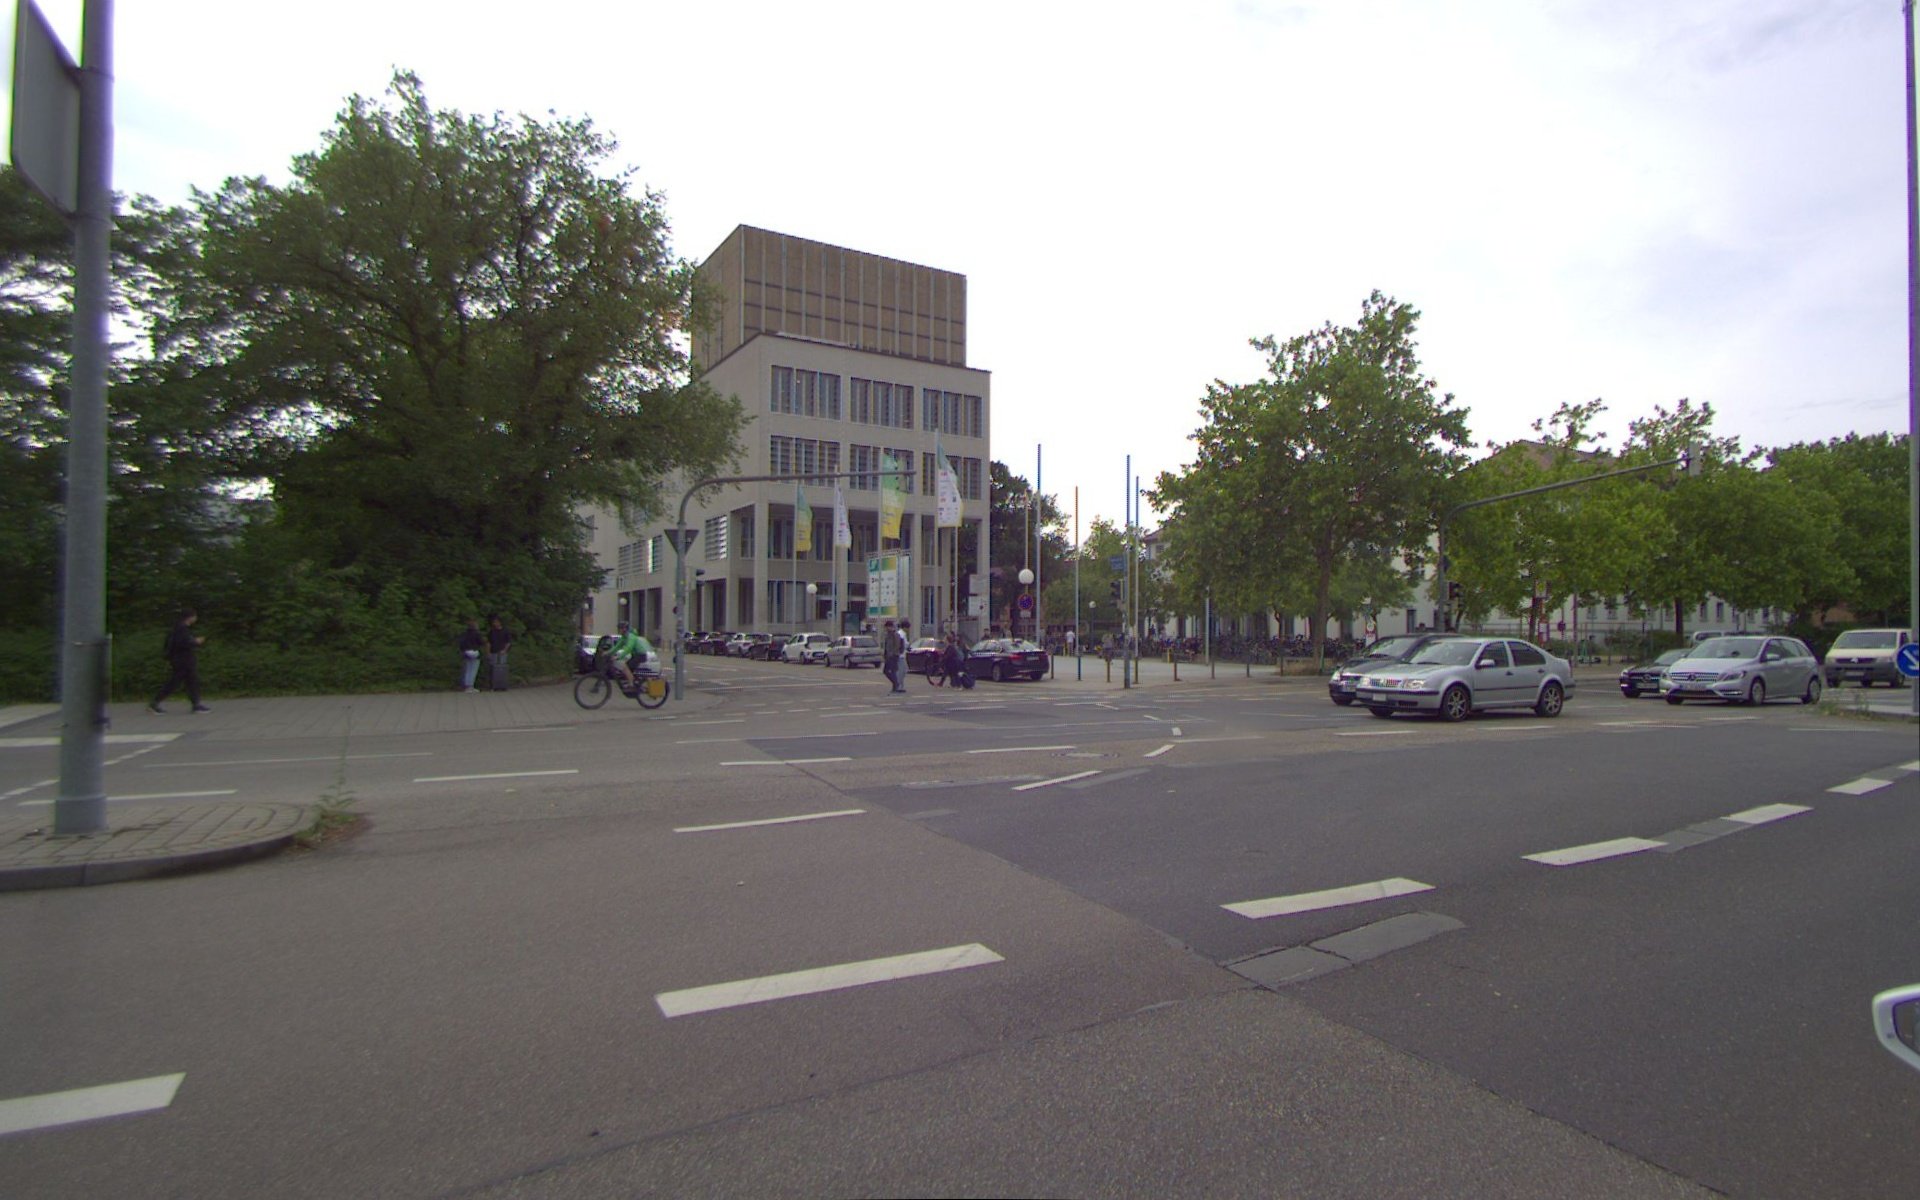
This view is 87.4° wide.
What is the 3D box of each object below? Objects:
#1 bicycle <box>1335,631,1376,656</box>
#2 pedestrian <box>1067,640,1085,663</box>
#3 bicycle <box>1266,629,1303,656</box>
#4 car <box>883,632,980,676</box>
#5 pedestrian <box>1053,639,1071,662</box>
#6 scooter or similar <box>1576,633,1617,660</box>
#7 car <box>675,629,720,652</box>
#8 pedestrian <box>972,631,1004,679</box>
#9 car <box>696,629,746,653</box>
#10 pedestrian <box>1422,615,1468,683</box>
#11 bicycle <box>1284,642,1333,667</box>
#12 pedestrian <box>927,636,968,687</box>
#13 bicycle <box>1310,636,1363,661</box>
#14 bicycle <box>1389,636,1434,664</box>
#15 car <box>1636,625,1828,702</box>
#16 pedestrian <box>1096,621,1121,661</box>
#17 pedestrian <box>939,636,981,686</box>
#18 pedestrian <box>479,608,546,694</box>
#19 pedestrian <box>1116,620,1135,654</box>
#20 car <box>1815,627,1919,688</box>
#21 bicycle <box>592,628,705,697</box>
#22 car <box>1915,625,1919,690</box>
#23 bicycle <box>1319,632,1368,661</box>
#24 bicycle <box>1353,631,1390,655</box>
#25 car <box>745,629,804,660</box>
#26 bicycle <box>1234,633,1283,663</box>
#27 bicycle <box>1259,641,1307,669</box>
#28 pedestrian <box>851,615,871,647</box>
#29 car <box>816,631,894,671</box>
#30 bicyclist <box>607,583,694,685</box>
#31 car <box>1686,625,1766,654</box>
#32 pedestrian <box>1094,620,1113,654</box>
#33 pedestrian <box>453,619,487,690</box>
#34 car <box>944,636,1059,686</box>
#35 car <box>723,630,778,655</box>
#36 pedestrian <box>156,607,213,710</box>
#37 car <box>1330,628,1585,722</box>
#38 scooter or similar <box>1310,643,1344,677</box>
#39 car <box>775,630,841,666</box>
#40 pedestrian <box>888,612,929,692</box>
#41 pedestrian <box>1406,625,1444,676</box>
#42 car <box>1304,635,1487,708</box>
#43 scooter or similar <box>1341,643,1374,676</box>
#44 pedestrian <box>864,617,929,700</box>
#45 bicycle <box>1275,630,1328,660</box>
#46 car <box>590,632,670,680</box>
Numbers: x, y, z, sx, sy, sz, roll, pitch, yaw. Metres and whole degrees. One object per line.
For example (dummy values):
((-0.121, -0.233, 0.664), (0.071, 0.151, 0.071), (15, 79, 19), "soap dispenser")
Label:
((25.719, 2.843, 65.347), (0.907, 1.579, 3.081), (1, -2, -14), "bicycle")
((7.156, 3.164, 61.929), (0.784, 1.437, 0.893), (1, -2, -24), "pedestrian")
((19.732, 2.579, 61.126), (0.907, 1.579, 2.660), (1, -2, -14), "bicycle")
((-1.171, 2.092, 39.543), (1.980, 1.491, 3.961), (1, 0, -34), "car")
((6.379, 3.149, 62.758), (0.784, 1.437, 0.893), (1, -2, -24), "pedestrian")
((30.405, 2.230, 48.015), (0.560, 1.260, 1.567), (1, -2, -31), "scooter or similar")
((-17.310, 2.660, 66.107), (1.936, 1.475, 3.653), (2, -3, -31), "car")
((1.200, 2.352, 43.175), (1.006, 2.040, 0.997), (1, -2, -32), "pedestrian")
((-14.848, 2.548, 62.171), (1.972, 1.415, 3.870), (1, -3, -31), "car")
((14.806, 1.481, 30.669), (0.999, 2.040, 0.889), (1, -2, -33), "pedestrian")
((18.358, 2.875, 52.990), (0.714, 1.286, 2.519), (1, -2, -34), "bicycle")
((-0.380, 1.882, 30.893), (0.965, 1.533, 0.817), (1, -1, -35), "pedestrian")
((20.467, 2.613, 54.654), (0.714, 1.347, 2.800), (1, -2, -34), "bicycle")
((26.385, 2.919, 58.750), (0.714, 1.615, 2.384), (1, -2, -34), "bicycle")
((17.697, 1.396, 23.006), (4.203, 1.604, 1.949), (1, -3, -29), "car")
((7.727, 2.140, 52.228), (0.784, 2.040, 1.092), (-1, -3, 42), "pedestrian")
((0.002, 1.799, 29.924), (0.990, 1.447, 0.693), (1, 0, -34), "pedestrian")
((-11.031, 1.225, 24.769), (1.022, 2.040, 1.099), (1, 0, 28), "pedestrian")
((9.967, 2.236, 60.467), (0.784, 2.040, 0.893), (1, -2, -24), "pedestrian")
((30.705, 1.891, 33.588), (4.434, 1.872, 1.764), (1, 0, -29), "car")
((-6.507, 1.271, 21.119), (0.598, 1.351, 2.301), (1, 0, 39), "bicycle")
((32.325, 1.826, 31.863), (3.955, 2.040, 1.983), (2, -2, -32), "car")
((21.195, 2.571, 55.567), (0.915, 1.579, 2.423), (2, -2, -41), "bicycle")
((27.282, 2.855, 66.666), (0.907, 1.579, 2.660), (1, -2, -14), "bicycle")
((-10.011, 2.376, 54.034), (1.867, 1.573, 3.968), (1, -2, -30), "car")
((16.191, 2.593, 54.576), (0.774, 1.579, 2.640), (1, -2, -36), "bicycle")
((16.728, 2.834, 52.083), (0.714, 1.371, 2.469), (1, -2, -34), "bicycle")
((-6.412, 2.031, 65.086), (0.784, 2.040, 1.033), (-1, -3, 42), "pedestrian")
((-4.792, 2.274, 45.516), (1.978, 1.601, 3.965), (1, 0, -32), "car")
((-6.426, 0.686, 20.891), (1.166, 2.040, 1.276), (1, 0, 39), "bicyclist")
((47.061, 2.410, 61.785), (1.634, 1.623, 3.564), (1, 0, -33), "car")
((8.501, 2.190, 59.395), (0.970, 2.040, 0.795), (0, -2, -3), "pedestrian")
((-11.544, 1.268, 23.667), (0.597, 1.628, 0.497), (2, 0, -40), "pedestrian")
((1.403, 2.098, 35.518), (1.980, 1.491, 4.115), (1, 0, -34), "car")
((-12.229, 2.461, 58.493), (1.984, 1.379, 3.968), (1, -2, -30), "car")
((-13.236, 0.985, 17.162), (0.644, 1.717, 0.587), (1, 0, -28), "pedestrian")
((9.049, 1.298, 18.267), (4.216, 1.549, 1.988), (1, -2, -25), "car")
((12.585, 2.048, 34.434), (1.305, 1.155, 0.358), (2, -2, -32), "scooter or similar")
((-7.578, 2.370, 49.867), (1.834, 1.706, 3.965), (1, -2, -32), "car")
((-1.357, 1.373, 26.633), (0.844, 2.085, 0.663), (2, -2, -32), "pedestrian")
((17.029, 1.837, 36.817), (0.926, 1.827, 0.889), (2, -3, -35), "pedestrian")
((9.601, 1.529, 22.120), (3.651, 1.483, 1.845), (1, -2, -28), "car")
((13.960, 2.084, 35.257), (1.305, 1.155, 0.358), (2, -2, -32), "scooter or similar")
((-1.623, 1.461, 25.761), (1.166, 2.040, 1.137), (1, 0, 39), "pedestrian")
((18.526, 2.416, 54.504), (0.915, 1.579, 2.635), (2, -2, -41), "bicycle")
((-11.365, 1.866, 34.426), (1.842, 1.469, 3.566), (1, -1, -31), "car")
